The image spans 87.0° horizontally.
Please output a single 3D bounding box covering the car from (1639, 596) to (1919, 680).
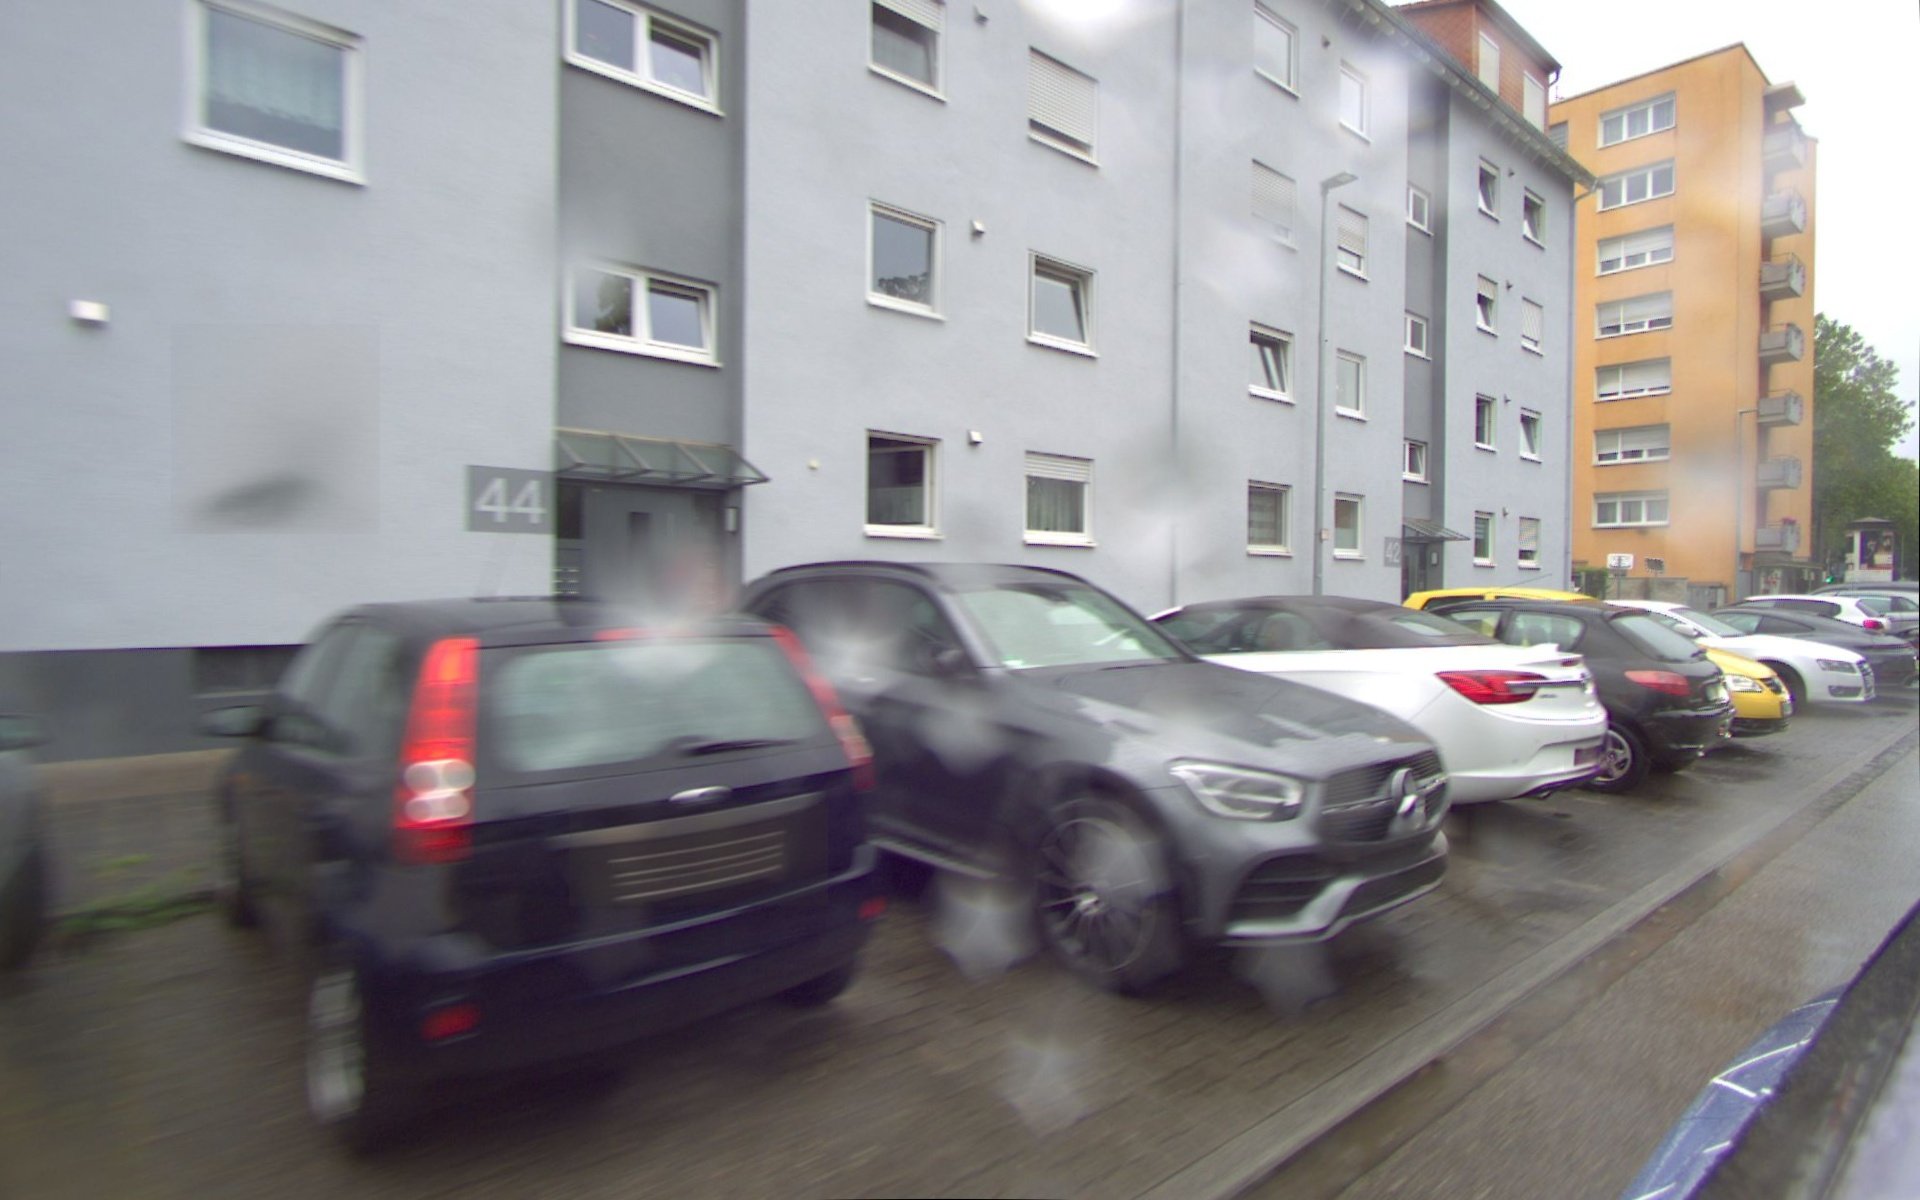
[{"bbox_3d":[14.270,0.578,17.453,1.920,1.223,3.864,0,1,-38],"label":"car"}]

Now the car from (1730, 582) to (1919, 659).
[{"bbox_3d":[19.883,0.405,22.468,1.858,1.591,4.188,-1,1,-41],"label":"car"}]

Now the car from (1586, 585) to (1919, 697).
[{"bbox_3d":[12.426,0.531,15.767,1.977,1.505,4.151,-1,1,-40],"label":"car"}]

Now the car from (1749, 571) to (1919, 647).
[{"bbox_3d":[23.314,0.184,26.273,1.912,1.827,4.236,-1,2,-43],"label":"car"}]

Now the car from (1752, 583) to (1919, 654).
[{"bbox_3d":[21.767,0.391,24.216,1.856,1.588,4.196,-1,2,-42],"label":"car"}]

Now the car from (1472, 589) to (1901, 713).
[{"bbox_3d":[10.144,0.589,14.484,1.964,1.454,4.639,-1,1,-38],"label":"car"}]

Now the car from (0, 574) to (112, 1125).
[{"bbox_3d":[-3.392,0.659,2.207,1.946,1.473,4.283,1,0,-35],"label":"car"}]

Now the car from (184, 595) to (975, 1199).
[{"bbox_3d":[-1.925,0.703,4.157,1.813,1.429,3.994,0,0,-40],"label":"car"}]

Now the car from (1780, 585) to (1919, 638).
[{"bbox_3d":[27.926,0.322,30.629,1.948,1.488,4.542,-1,2,-40],"label":"car"}]

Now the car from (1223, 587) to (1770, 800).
[{"bbox_3d":[4.565,0.629,9.087,1.751,1.460,3.994,-1,1,-41],"label":"car"}]

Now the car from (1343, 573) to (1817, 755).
[{"bbox_3d":[6.438,0.532,10.843,1.821,1.571,3.992,-1,1,-42],"label":"car"}]

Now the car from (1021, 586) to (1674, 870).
[{"bbox_3d":[2.557,0.642,7.497,1.964,1.476,4.107,0,1,-39],"label":"car"}]

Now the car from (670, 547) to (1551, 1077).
[{"bbox_3d":[0.361,0.606,5.318,2.004,1.571,4.349,-1,1,-41],"label":"car"}]

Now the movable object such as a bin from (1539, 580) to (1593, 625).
[{"bbox_3d":[19.035,0.076,31.811,0.806,1.395,1.239,0,0,-33],"label":"movable object such as a bin"}]

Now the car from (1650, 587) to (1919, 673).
[{"bbox_3d":[15.886,0.489,19.596,1.805,1.472,3.859,0,1,-42],"label":"car"}]
